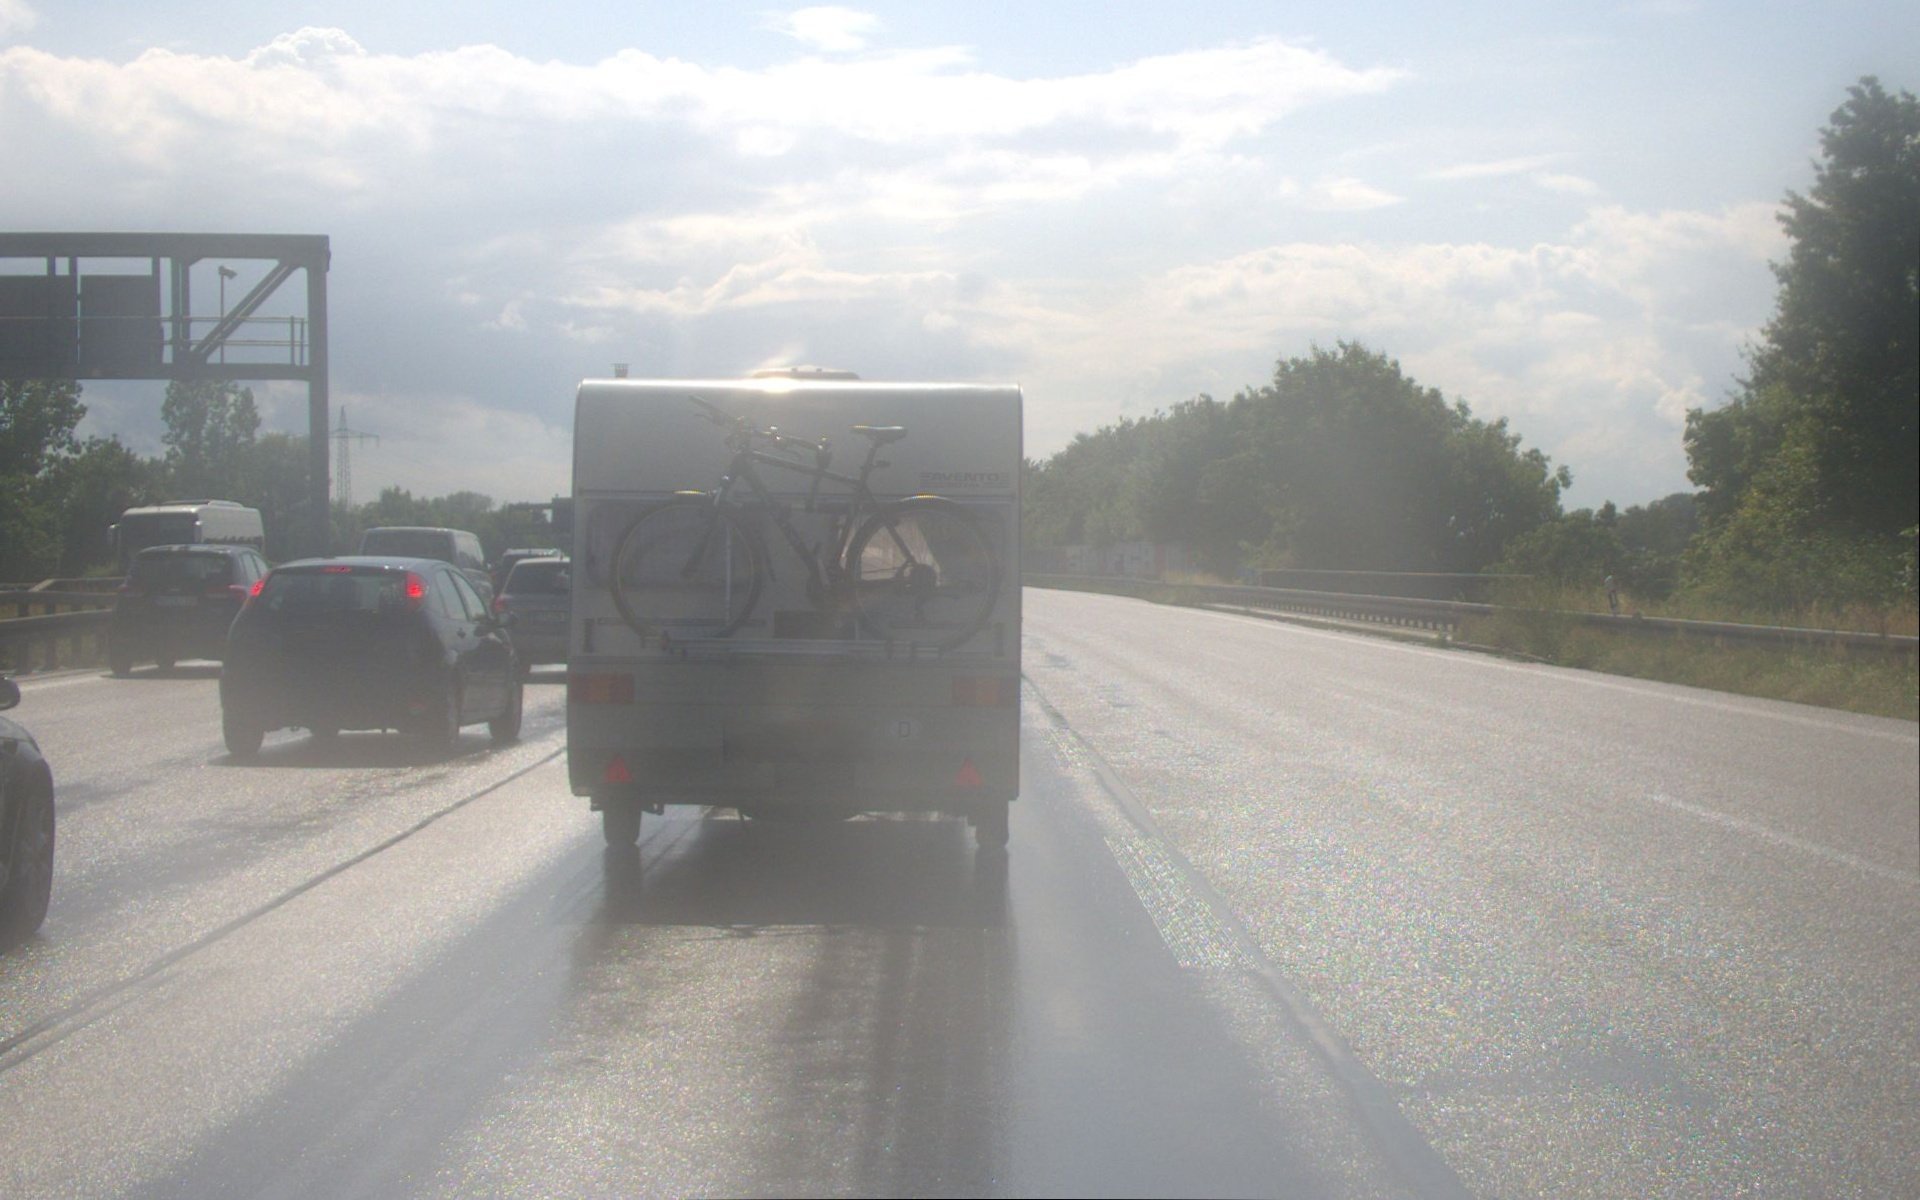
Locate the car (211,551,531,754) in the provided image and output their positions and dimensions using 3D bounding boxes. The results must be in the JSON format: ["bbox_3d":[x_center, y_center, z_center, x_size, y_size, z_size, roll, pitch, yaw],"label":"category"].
[{"bbox_3d":[-4.473,0.348,26.646,1.758,1.438,4.000,0,1,0],"label":"car"}]

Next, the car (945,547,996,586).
[{"bbox_3d":[0.418,-1.387,141.859,1.835,1.552,4.001,1,1,-4],"label":"car"}]

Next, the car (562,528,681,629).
[{"bbox_3d":[-5.701,-0.379,58.222,1.689,1.656,3.641,0,1,-1],"label":"car"}]

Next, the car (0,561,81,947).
[{"bbox_3d":[-4.433,0.584,11.917,1.750,1.428,4.054,0,1,0],"label":"car"}]

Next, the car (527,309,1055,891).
[{"bbox_3d":[-0.770,-0.018,17.933,2.410,2.665,4.000,1,1,0],"label":"car"}]

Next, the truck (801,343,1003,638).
[{"bbox_3d":[-1.027,-1.794,59.421,3.146,4.610,10.736,0,1,-1],"label":"truck"}]

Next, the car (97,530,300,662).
[{"bbox_3d":[-9.551,-0.077,43.390,1.783,1.573,3.916,0,1,-2],"label":"car"}]

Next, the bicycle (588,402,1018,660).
[{"bbox_3d":[-0.709,-0.315,15.747,1.934,1.137,0.384,1,0,1],"label":"bicycle"}]

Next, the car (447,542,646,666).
[{"bbox_3d":[-5.113,0.016,42.956,1.987,1.453,3.826,0,1,0],"label":"car"}]

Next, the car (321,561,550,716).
[{"bbox_3d":[-5.419,0.357,35.939,1.863,1.503,4.000,0,1,-1],"label":"car"}]

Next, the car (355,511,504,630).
[{"bbox_3d":[-9.027,-0.523,58.888,1.848,1.927,5.016,0,1,-1],"label":"car"}]

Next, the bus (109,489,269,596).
[{"bbox_3d":[-24.862,-1.848,111.495,2.939,3.275,12.213,0,1,-3],"label":"bus"}]
